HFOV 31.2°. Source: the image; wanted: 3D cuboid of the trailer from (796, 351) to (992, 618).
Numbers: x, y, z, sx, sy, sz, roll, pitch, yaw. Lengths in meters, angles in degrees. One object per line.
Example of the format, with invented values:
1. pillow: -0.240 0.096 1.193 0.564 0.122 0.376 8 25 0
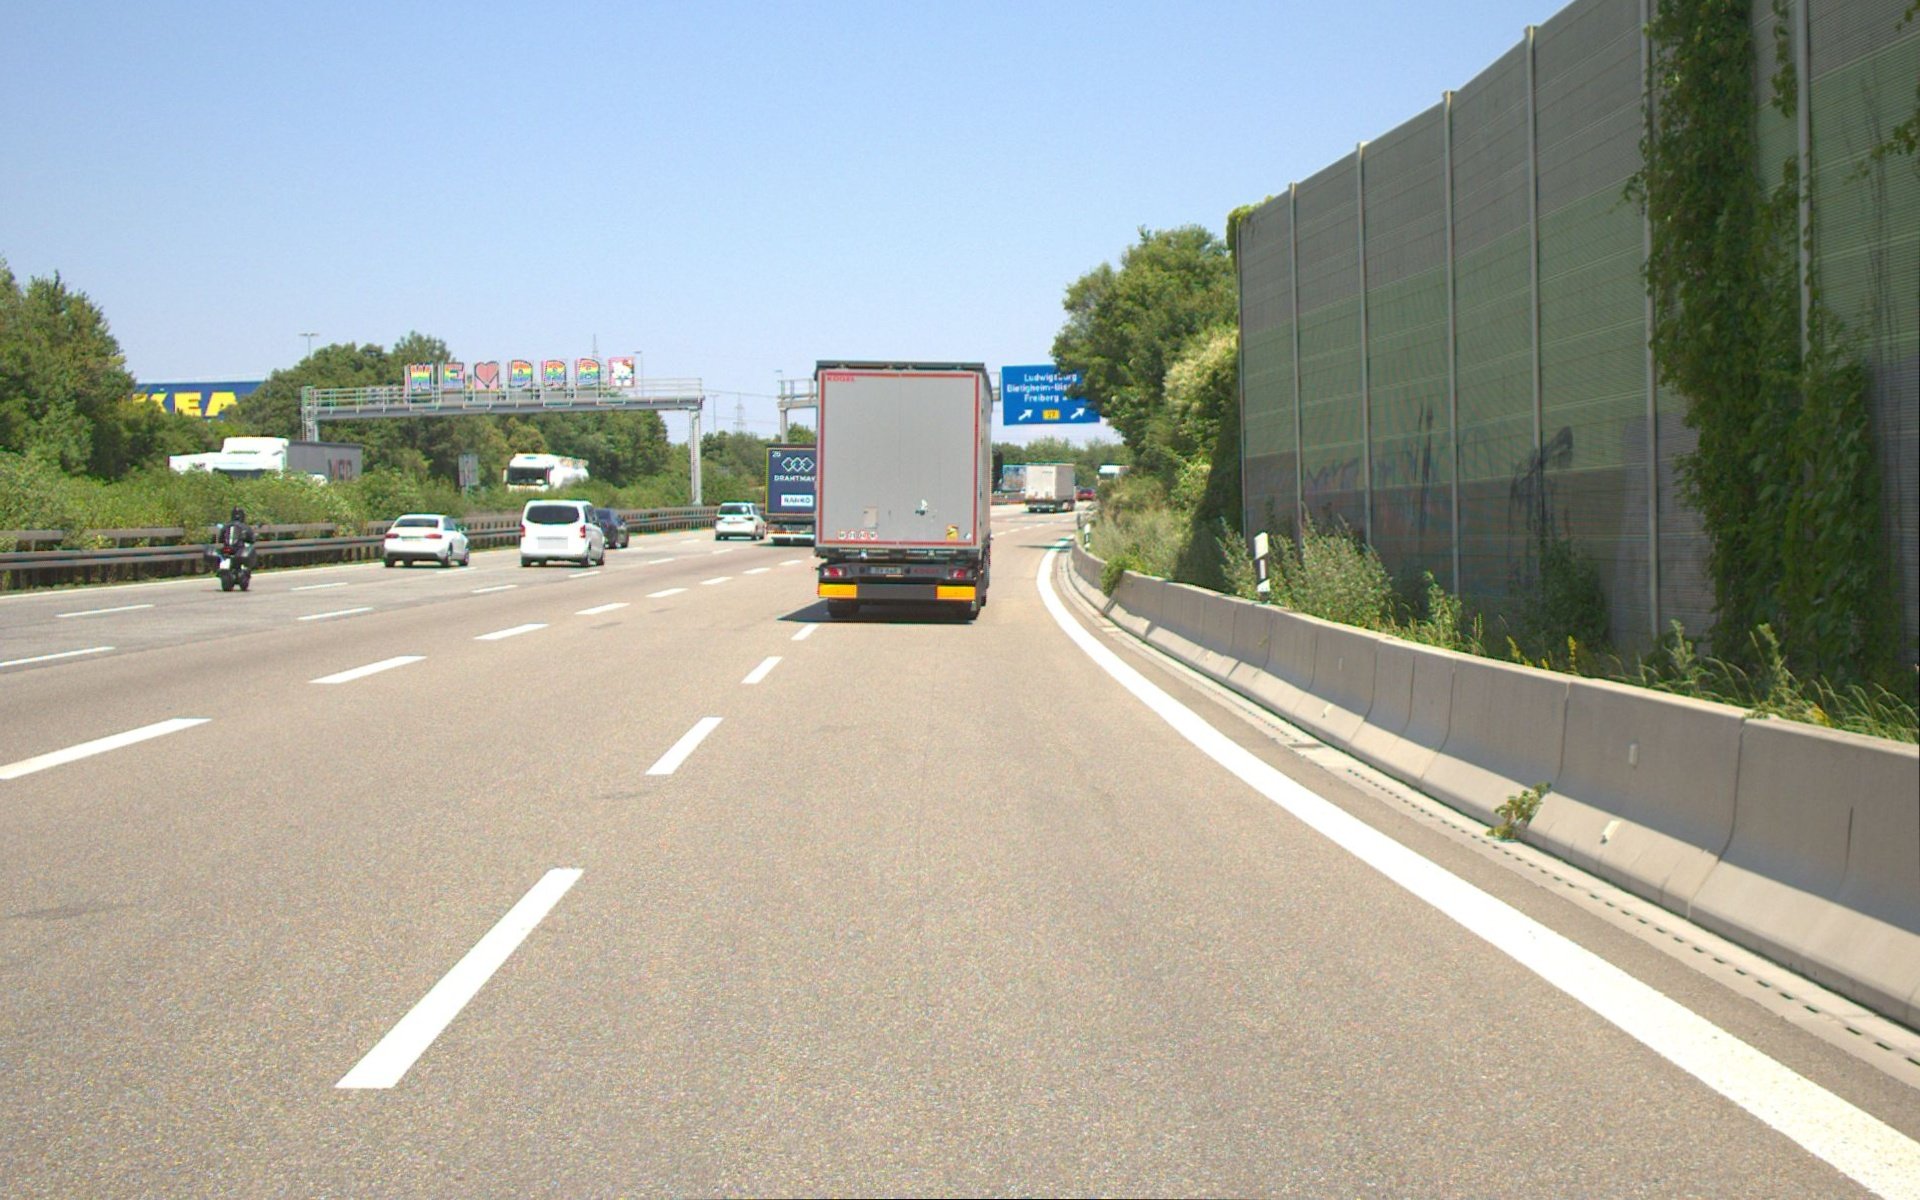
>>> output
1. trailer: -1.072 -1.863 57.764 2.928 4.001 12.039 0 1 -1

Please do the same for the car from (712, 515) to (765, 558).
1. car: -9.571 -2.761 148.621 1.904 1.845 4.631 0 2 1

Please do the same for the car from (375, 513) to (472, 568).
1. car: -14.729 -1.614 94.567 1.876 1.435 5.126 0 0 0

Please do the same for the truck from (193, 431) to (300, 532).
1. truck: -29.346 -4.854 141.582 3.332 4.075 4.828 1 1 1

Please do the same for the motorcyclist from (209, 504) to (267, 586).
1. motorcyclist: -14.144 -1.080 67.354 0.893 1.591 1.299 0 1 -2

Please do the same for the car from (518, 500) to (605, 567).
1. car: -11.189 -1.887 96.803 1.930 1.845 4.693 0 2 0

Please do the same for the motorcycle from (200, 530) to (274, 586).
1. motorcycle: -14.140 -0.821 67.307 0.912 1.085 2.850 0 1 -2

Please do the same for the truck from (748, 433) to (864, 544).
1. truck: -6.229 -4.603 141.685 3.747 4.255 14.496 1 2 1
